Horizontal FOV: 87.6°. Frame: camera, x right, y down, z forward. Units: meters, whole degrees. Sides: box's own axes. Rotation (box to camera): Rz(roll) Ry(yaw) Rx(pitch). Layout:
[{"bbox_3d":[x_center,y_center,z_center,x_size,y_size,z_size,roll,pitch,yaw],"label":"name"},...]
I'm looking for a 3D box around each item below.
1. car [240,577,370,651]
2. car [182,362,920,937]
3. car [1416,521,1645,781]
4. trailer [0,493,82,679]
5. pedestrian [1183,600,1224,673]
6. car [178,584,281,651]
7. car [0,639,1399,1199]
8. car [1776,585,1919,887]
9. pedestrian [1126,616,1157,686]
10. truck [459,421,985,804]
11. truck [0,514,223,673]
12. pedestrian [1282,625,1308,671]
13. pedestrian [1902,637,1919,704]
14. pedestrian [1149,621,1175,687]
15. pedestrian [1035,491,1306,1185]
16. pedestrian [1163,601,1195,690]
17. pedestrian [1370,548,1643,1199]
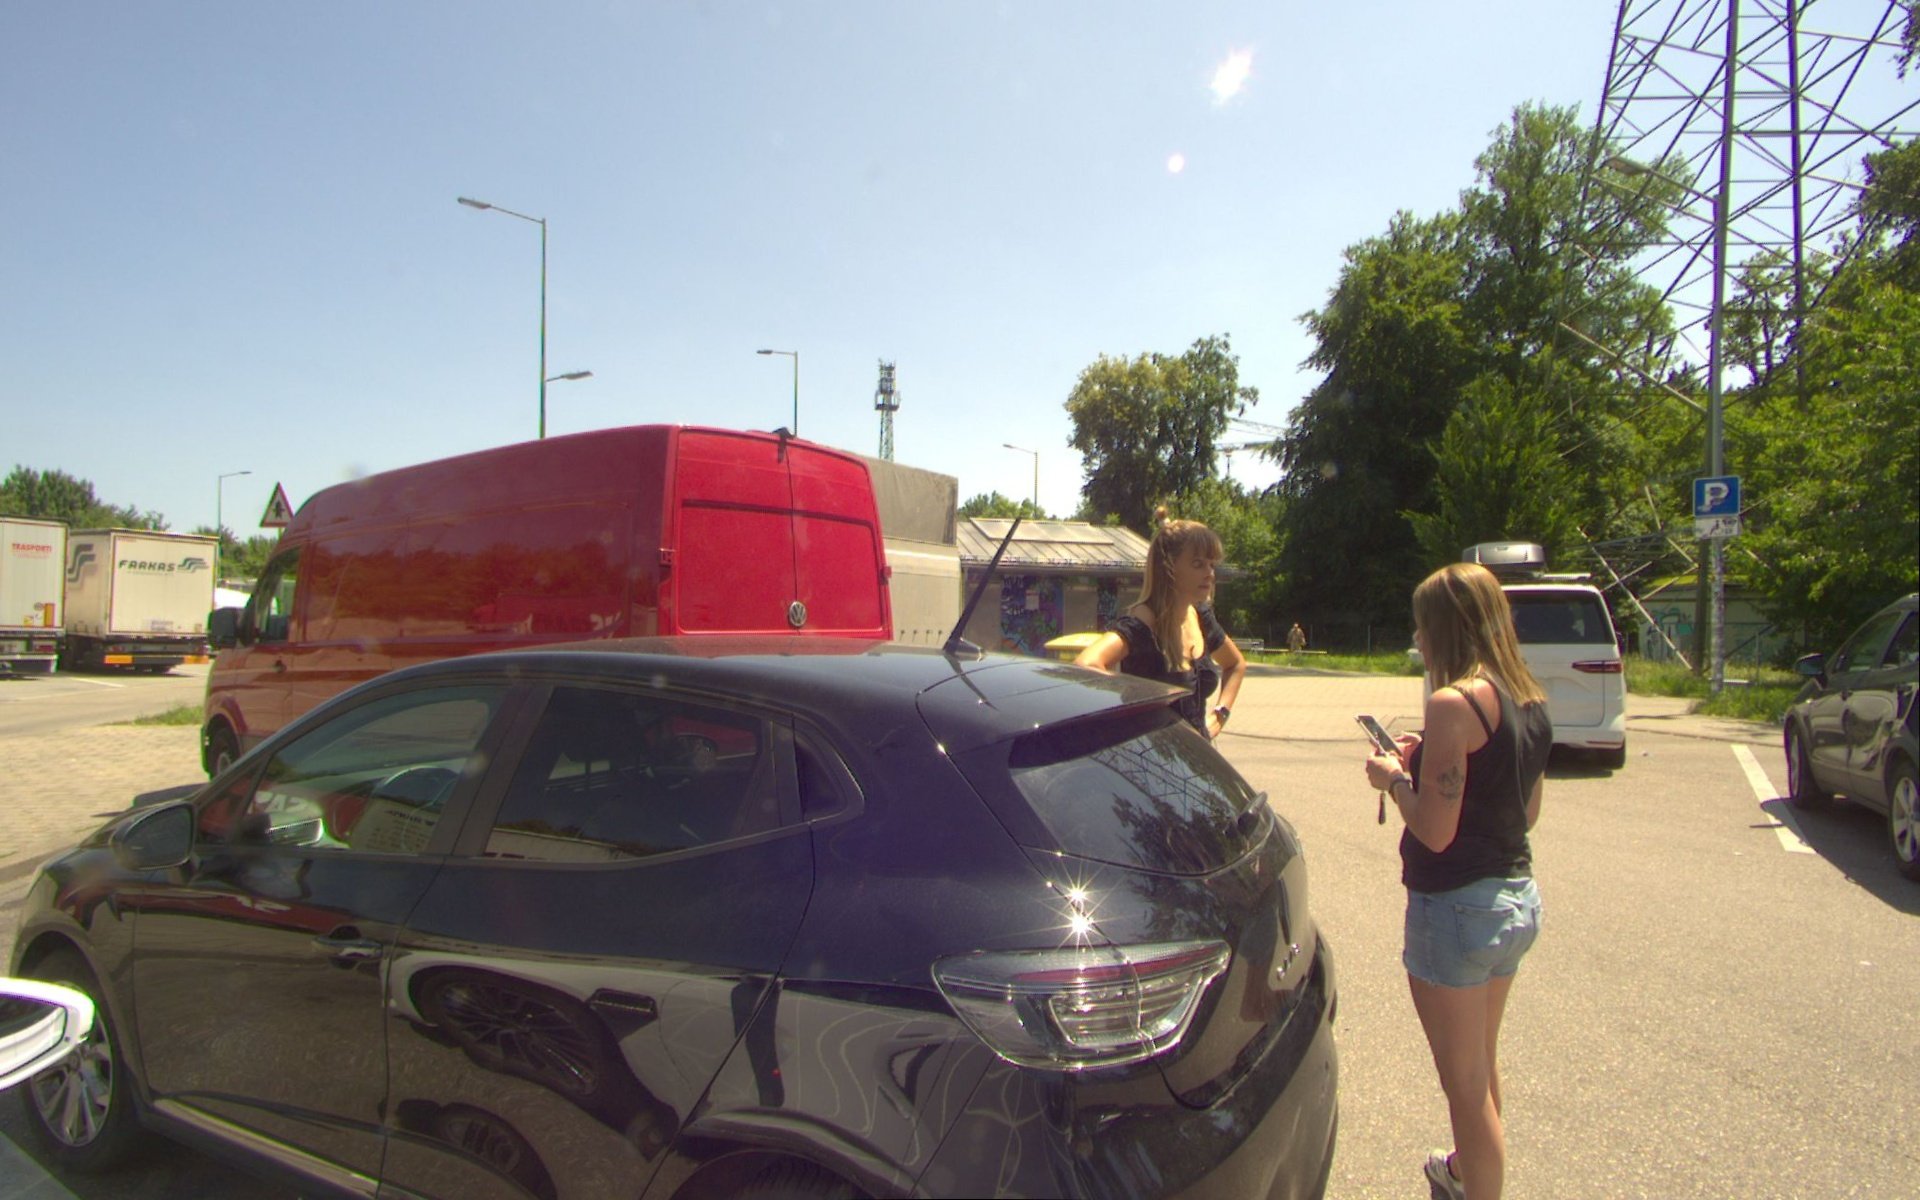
[{"bbox_3d":[-29.441,0.609,44.927,6.259,3.114,2.495,0,-1,32],"label":"car"},{"bbox_3d":[-3.381,0.256,7.329,6.298,2.668,1.988,0,-1,36],"label":"car"},{"bbox_3d":[6.677,0.533,11.864,1.901,2.401,4.954,1,-1,29],"label":"car"},{"bbox_3d":[-28.580,-0.335,27.854,12.642,4.510,2.677,0,-1,32],"label":"trailer"},{"bbox_3d":[6.461,0.956,26.590,0.762,1.903,0.840,0,-1,-11],"label":"pedestrian"},{"bbox_3d":[-29.912,0.762,41.009,3.943,2.632,2.111,-1,-2,32],"label":"car"},{"bbox_3d":[-0.795,0.852,2.795,3.627,1.476,1.776,-1,-2,26],"label":"car"},{"bbox_3d":[6.787,0.781,6.359,1.811,1.638,4.150,0,-1,30],"label":"car"},{"bbox_3d":[3.878,1.079,21.385,0.521,1.478,0.576,0,0,23],"label":"pedestrian"},{"bbox_3d":[-2.416,0.177,9.869,4.751,2.863,2.514,-1,-2,34],"label":"truck"},{"bbox_3d":[-27.135,-0.017,31.222,11.800,4.279,2.582,-1,-2,32],"label":"truck"},{"bbox_3d":[14.955,2.145,44.695,0.955,2.039,0.829,0,-1,10],"label":"pedestrian"},{"bbox_3d":[17.194,1.240,17.586,0.694,1.178,0.787,-1,-1,22],"label":"pedestrian"},{"bbox_3d":[4.269,1.129,21.150,0.439,1.362,0.477,0,0,23],"label":"pedestrian"},{"bbox_3d":[0.706,0.657,3.226,0.481,1.884,0.906,0,-1,39],"label":"pedestrian"},{"bbox_3d":[4.463,0.924,20.430,0.520,1.783,0.651,0,0,23],"label":"pedestrian"},{"bbox_3d":[1.214,0.714,2.257,0.478,1.615,0.501,0,0,29],"label":"pedestrian"}]
